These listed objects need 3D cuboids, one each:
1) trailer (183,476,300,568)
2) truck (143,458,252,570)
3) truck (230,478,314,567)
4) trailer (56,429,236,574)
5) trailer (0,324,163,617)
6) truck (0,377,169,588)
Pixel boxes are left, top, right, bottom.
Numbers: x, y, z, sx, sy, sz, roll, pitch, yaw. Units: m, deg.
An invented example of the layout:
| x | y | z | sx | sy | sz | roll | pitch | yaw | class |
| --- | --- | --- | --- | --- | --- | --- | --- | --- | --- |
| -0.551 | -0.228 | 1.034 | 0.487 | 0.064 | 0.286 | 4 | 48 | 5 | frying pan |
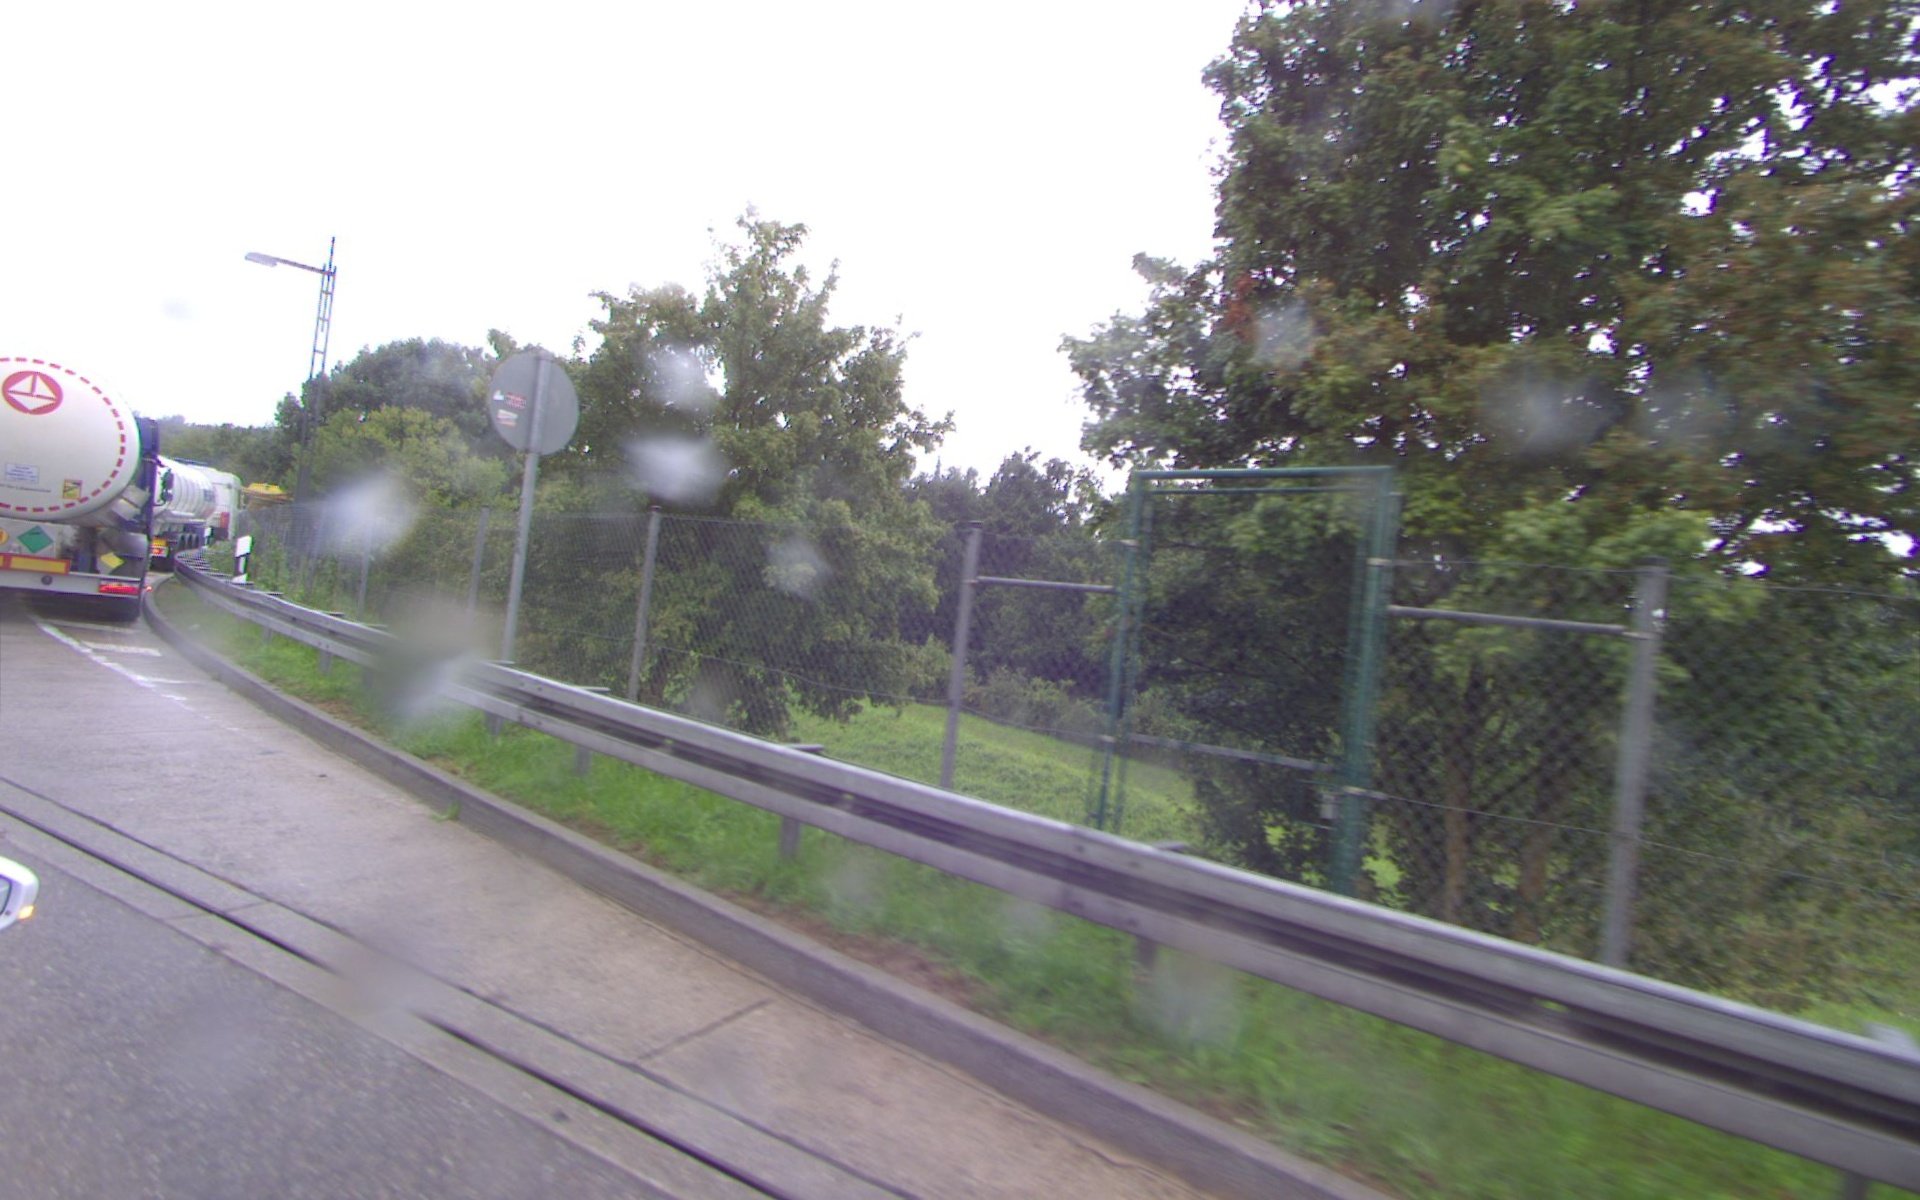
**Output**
| x | y | z | sx | sy | sz | roll | pitch | yaw | class |
| --- | --- | --- | --- | --- | --- | --- | --- | --- | --- |
| -32.082 | -3.338 | 45.247 | 2.160 | 3.433 | 7.528 | 7 | -1 | -21 | trailer |
| -27.745 | -3.027 | 36.785 | 2.129 | 3.555 | 4.614 | 7 | -1 | -28 | truck |
| -33.659 | -3.686 | 49.370 | 2.158 | 3.874 | 4.122 | 7 | -1 | -21 | truck |
| -24.689 | -2.755 | 31.064 | 2.114 | 3.481 | 10.181 | 7 | -1 | -28 | trailer |
| -14.133 | -1.799 | 15.923 | 1.971 | 3.262 | 10.214 | 8 | -2 | -38 | trailer |
| -17.771 | -2.254 | 20.653 | 2.044 | 3.572 | 4.696 | 8 | -1 | -38 | truck |
